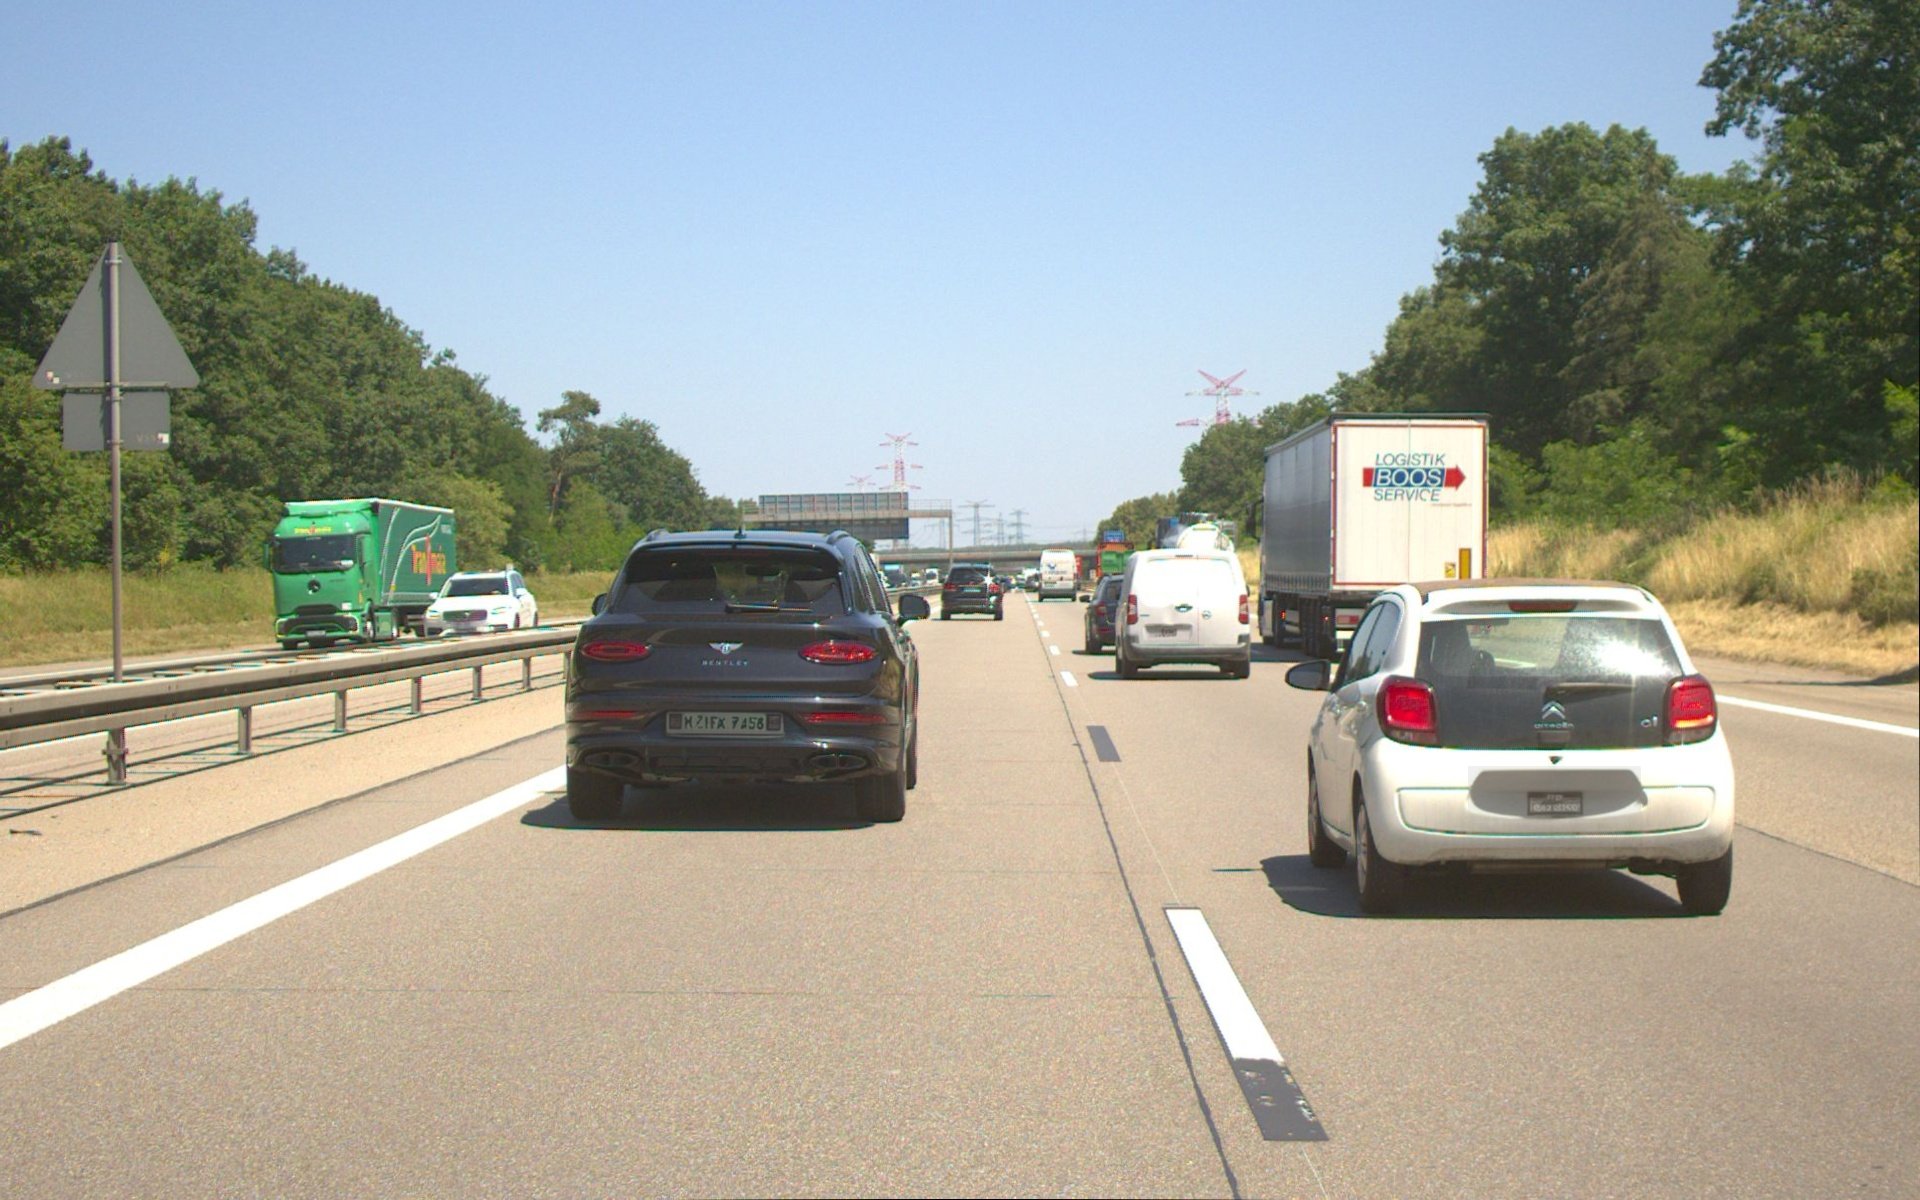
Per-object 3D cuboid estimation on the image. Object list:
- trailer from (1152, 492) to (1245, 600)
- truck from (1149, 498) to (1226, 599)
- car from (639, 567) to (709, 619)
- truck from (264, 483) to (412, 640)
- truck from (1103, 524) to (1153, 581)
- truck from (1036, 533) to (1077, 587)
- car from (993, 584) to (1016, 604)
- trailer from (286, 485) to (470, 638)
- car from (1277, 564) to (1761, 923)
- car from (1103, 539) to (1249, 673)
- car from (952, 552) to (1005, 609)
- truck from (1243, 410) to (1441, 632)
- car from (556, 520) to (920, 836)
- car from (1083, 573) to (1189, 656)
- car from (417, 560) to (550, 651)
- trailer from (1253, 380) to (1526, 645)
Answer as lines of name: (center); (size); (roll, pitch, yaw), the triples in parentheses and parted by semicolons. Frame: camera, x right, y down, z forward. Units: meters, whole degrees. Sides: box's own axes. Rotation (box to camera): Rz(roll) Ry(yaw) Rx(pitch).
trailer: (8.784, -1.952, 127.955); (2.683, 3.824, 12.010); (1, 0, 1)
truck: (8.833, -1.999, 133.650); (2.683, 3.824, 4.444); (1, 0, 1)
car: (-8.927, -0.244, 107.606); (1.655, 1.495, 4.600); (-3, 1, 1)
truck: (-17.436, -1.083, 96.726); (2.700, 4.147, 6.296); (-3, 0, 1)
truck: (11.430, -3.198, 234.399); (2.989, 3.716, 10.089); (1, 0, 1)
truck: (5.243, -2.156, 187.272); (2.060, 2.904, 7.003); (0, 0, 1)
car: (3.096, -0.432, 238.729); (1.607, 1.296, 3.674); (0, 1, 1)
trailer: (-17.352, -1.149, 103.640); (2.705, 4.147, 14.338); (-3, 1, 1)
car: (2.533, 0.580, 16.453); (1.708, 1.490, 4.024); (0, 1, 1)
car: (3.049, 0.061, 49.418); (1.814, 1.821, 5.110); (0, 0, 1)
car: (0.602, -0.619, 107.846); (1.626, 1.749, 3.804); (0, 1, 1)
truck: (7.548, -1.531, 68.706); (3.286, 4.205, 6.007); (1, 0, 1)
car: (-1.270, 0.376, 22.056); (1.940, 1.746, 5.813); (0, 1, 0)
car: (3.215, 0.249, 63.316); (1.774, 1.467, 3.872); (0, 0, 1)
car: (-10.297, 0.078, 74.738); (1.954, 1.786, 5.562); (-3, 1, 1)
trailer: (7.497, -1.451, 62.123); (3.286, 4.205, 13.565); (1, 0, 1)
